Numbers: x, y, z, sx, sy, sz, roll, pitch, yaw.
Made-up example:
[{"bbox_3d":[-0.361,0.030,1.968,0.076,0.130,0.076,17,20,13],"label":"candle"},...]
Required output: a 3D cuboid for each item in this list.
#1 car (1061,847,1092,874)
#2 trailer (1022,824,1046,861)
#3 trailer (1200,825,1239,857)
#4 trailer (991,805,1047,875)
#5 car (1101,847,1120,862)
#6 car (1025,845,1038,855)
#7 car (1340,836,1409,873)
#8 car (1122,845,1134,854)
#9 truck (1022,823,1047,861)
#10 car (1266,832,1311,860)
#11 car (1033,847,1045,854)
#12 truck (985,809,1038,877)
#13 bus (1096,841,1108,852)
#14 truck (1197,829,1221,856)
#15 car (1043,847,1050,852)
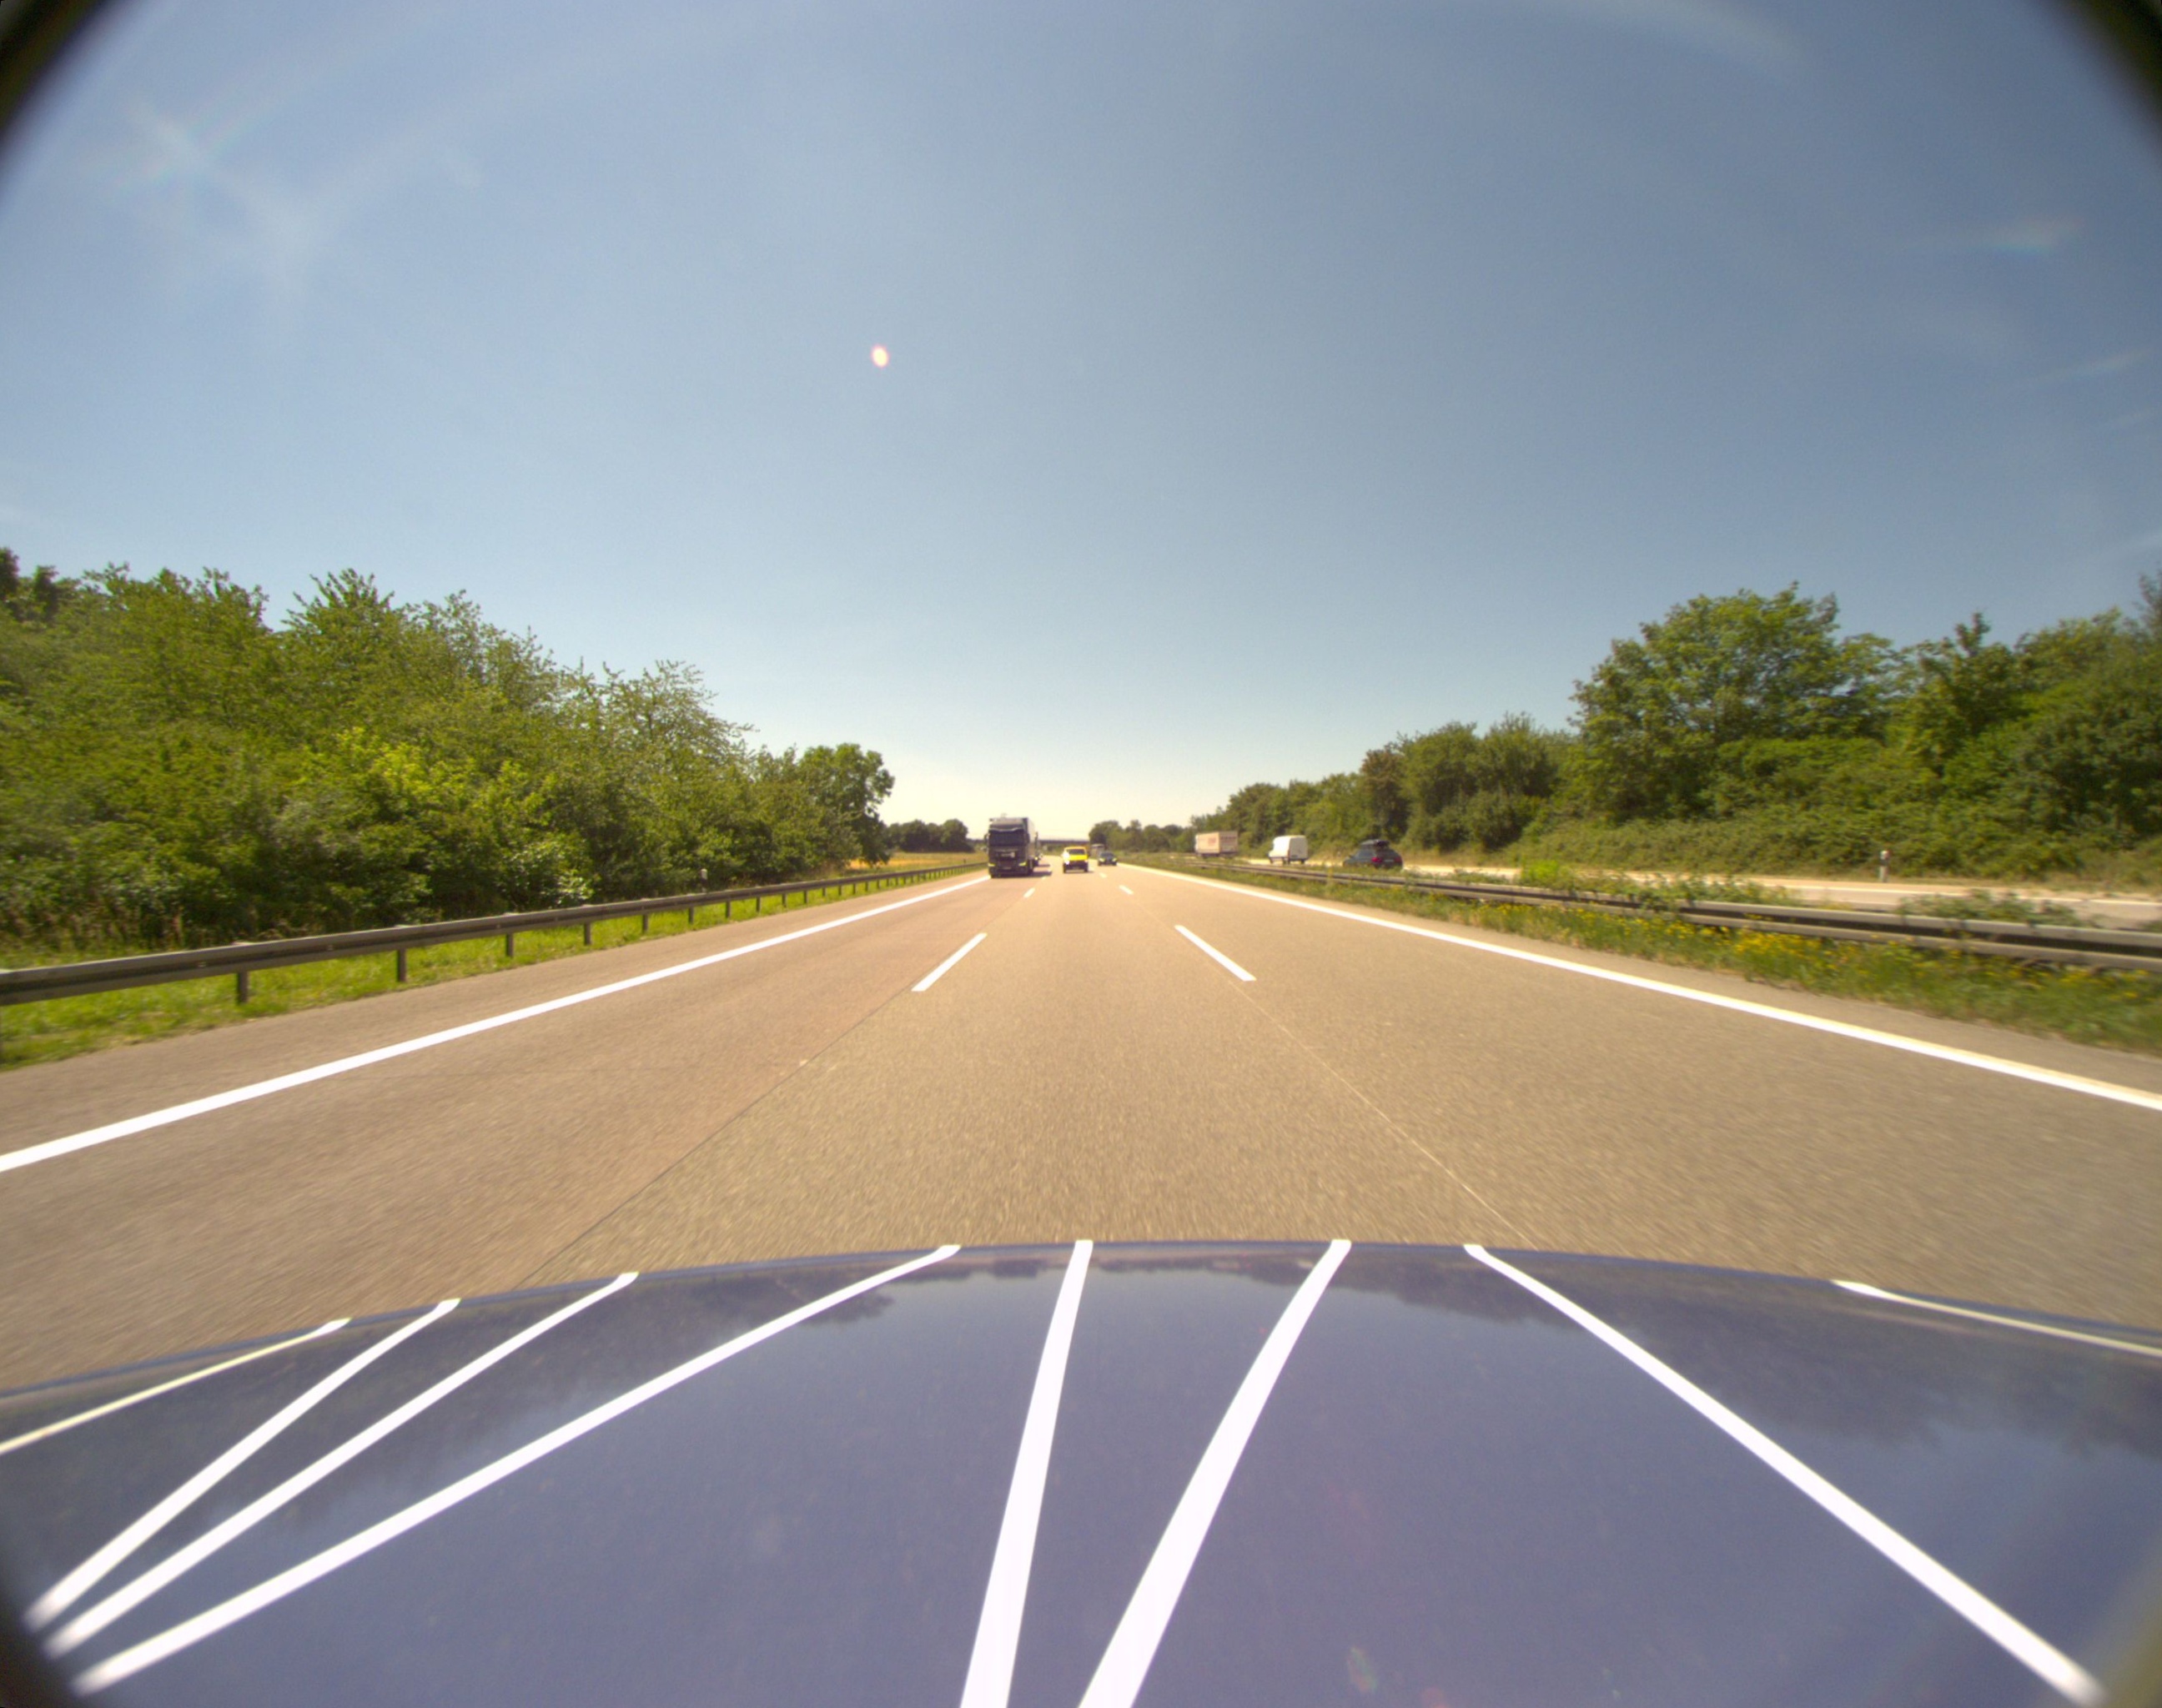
[{"bbox_3d":[-0.351,0.455,57.379,1.778,1.882,3.829,0,1,-9],"label":"car"},{"bbox_3d":[-5.847,-1.485,94.982,2.603,4.227,13.633,-2,1,-3],"label":"trailer"},{"bbox_3d":[19.185,-1.750,106.194,2.713,4.160,13.555,-1,1,-1],"label":"trailer"},{"bbox_3d":[-4.504,-1.033,58.293,2.908,4.630,13.984,-2,1,0],"label":"trailer"},{"bbox_3d":[3.070,0.021,79.706,1.726,1.478,3.999,-1,1,-1],"label":"car"},{"bbox_3d":[-10.935,-0.846,166.607,2.190,2.253,4.945,0,1,-12],"label":"car"},{"bbox_3d":[16.176,-0.001,42.141,1.831,1.895,4.955,-1,1,-1],"label":"car"},{"bbox_3d":[9.297,-0.861,150.206,1.999,1.850,4.955,0,1,-1],"label":"car"},{"bbox_3d":[-5.340,-1.362,87.169,2.608,4.232,5.086,-2,1,-4],"label":"truck"},{"bbox_3d":[19.871,-0.765,73.112,2.234,2.562,7.390,0,1,0],"label":"car"},{"bbox_3d":[-8.816,-0.661,158.662,1.786,1.467,3.995,0,1,-12],"label":"car"},{"bbox_3d":[-4.555,-0.744,51.023,2.915,4.232,4.974,-2,1,1],"label":"truck"},{"bbox_3d":[6.894,-2.450,255.764,2.749,3.686,12.994,-2,1,-4],"label":"bus"},{"bbox_3d":[19.034,-1.765,113.291,2.709,3.943,4.442,-1,1,-1],"label":"truck"},{"bbox_3d":[-10.331,-1.425,226.201,1.650,1.557,3.596,0,1,-12],"label":"car"}]
